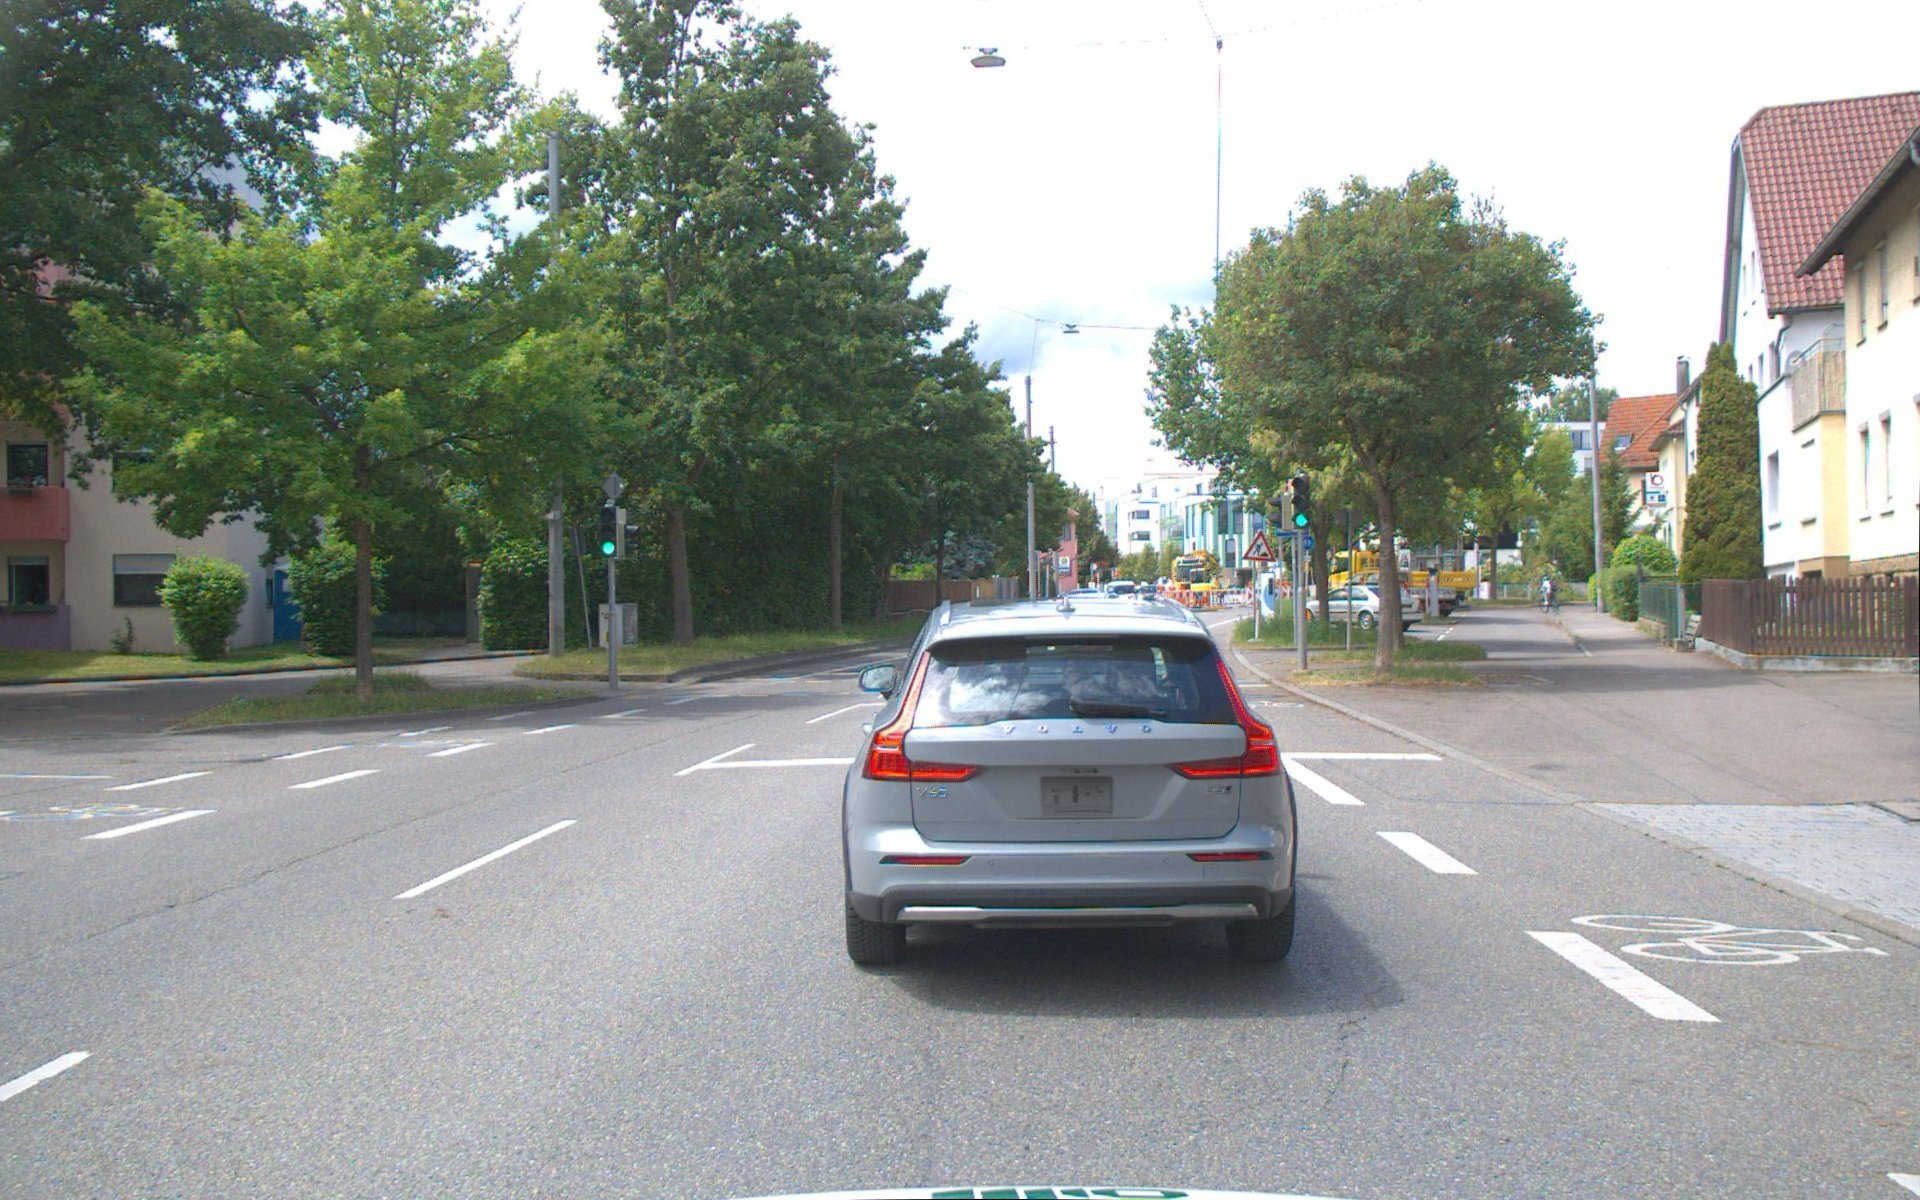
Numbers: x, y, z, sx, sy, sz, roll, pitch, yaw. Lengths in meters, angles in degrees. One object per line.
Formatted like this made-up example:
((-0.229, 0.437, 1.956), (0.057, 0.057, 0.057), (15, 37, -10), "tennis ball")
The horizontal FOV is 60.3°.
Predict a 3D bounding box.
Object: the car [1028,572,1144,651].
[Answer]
((2.741, 0.250, 35.156), (2.057, 1.536, 4.003), (1, -1, 10), "car")

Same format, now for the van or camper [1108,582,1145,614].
((9.616, -0.127, 95.438), (1.821, 1.807, 4.384), (-1, 0, 9), "van or camper")

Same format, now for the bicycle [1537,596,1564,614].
((27.020, 0.227, 75.696), (0.582, 0.826, 1.753), (1, 0, -1), "bicycle")

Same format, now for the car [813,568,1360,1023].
((0.485, 0.667, 7.774), (1.888, 1.567, 4.001), (-1, 0, 1), "car")

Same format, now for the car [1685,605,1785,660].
((17.467, 0.725, 37.412), (1.431, 1.144, 3.874), (1, -1, 16), "car")

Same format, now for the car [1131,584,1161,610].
((13.768, -0.211, 122.375), (1.951, 1.768, 4.003), (1, -1, 9), "car")

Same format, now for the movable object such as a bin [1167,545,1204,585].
((18.052, -2.749, 132.694), (2.262, 3.042, 6.429), (-2, 0, 3), "movable object such as a bin")

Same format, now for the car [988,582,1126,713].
((1.237, 0.584, 21.812), (1.627, 1.534, 3.703), (2, -1, 2), "car")

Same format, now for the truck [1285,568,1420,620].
((16.308, -0.233, 69.019), (1.977, 2.049, 5.608), (2, -1, -35), "truck")

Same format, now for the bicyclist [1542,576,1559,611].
((27.032, -0.294, 75.727), (0.577, 1.586, 0.566), (1, -1, -2), "bicyclist")

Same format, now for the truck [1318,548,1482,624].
((18.739, -0.573, 70.791), (2.737, 3.061, 6.626), (2, -1, -34), "truck")

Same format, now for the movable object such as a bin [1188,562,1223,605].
((16.278, -1.098, 109.365), (1.991, 2.689, 5.945), (-2, 0, 11), "movable object such as a bin")

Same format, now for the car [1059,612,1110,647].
((5.187, 1.260, 68.730), (1.789, 1.353, 4.003), (1, -2, 9), "car")

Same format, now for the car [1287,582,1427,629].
((12.994, 0.159, 54.390), (1.745, 1.477, 4.637), (-1, 1, -32), "car")
